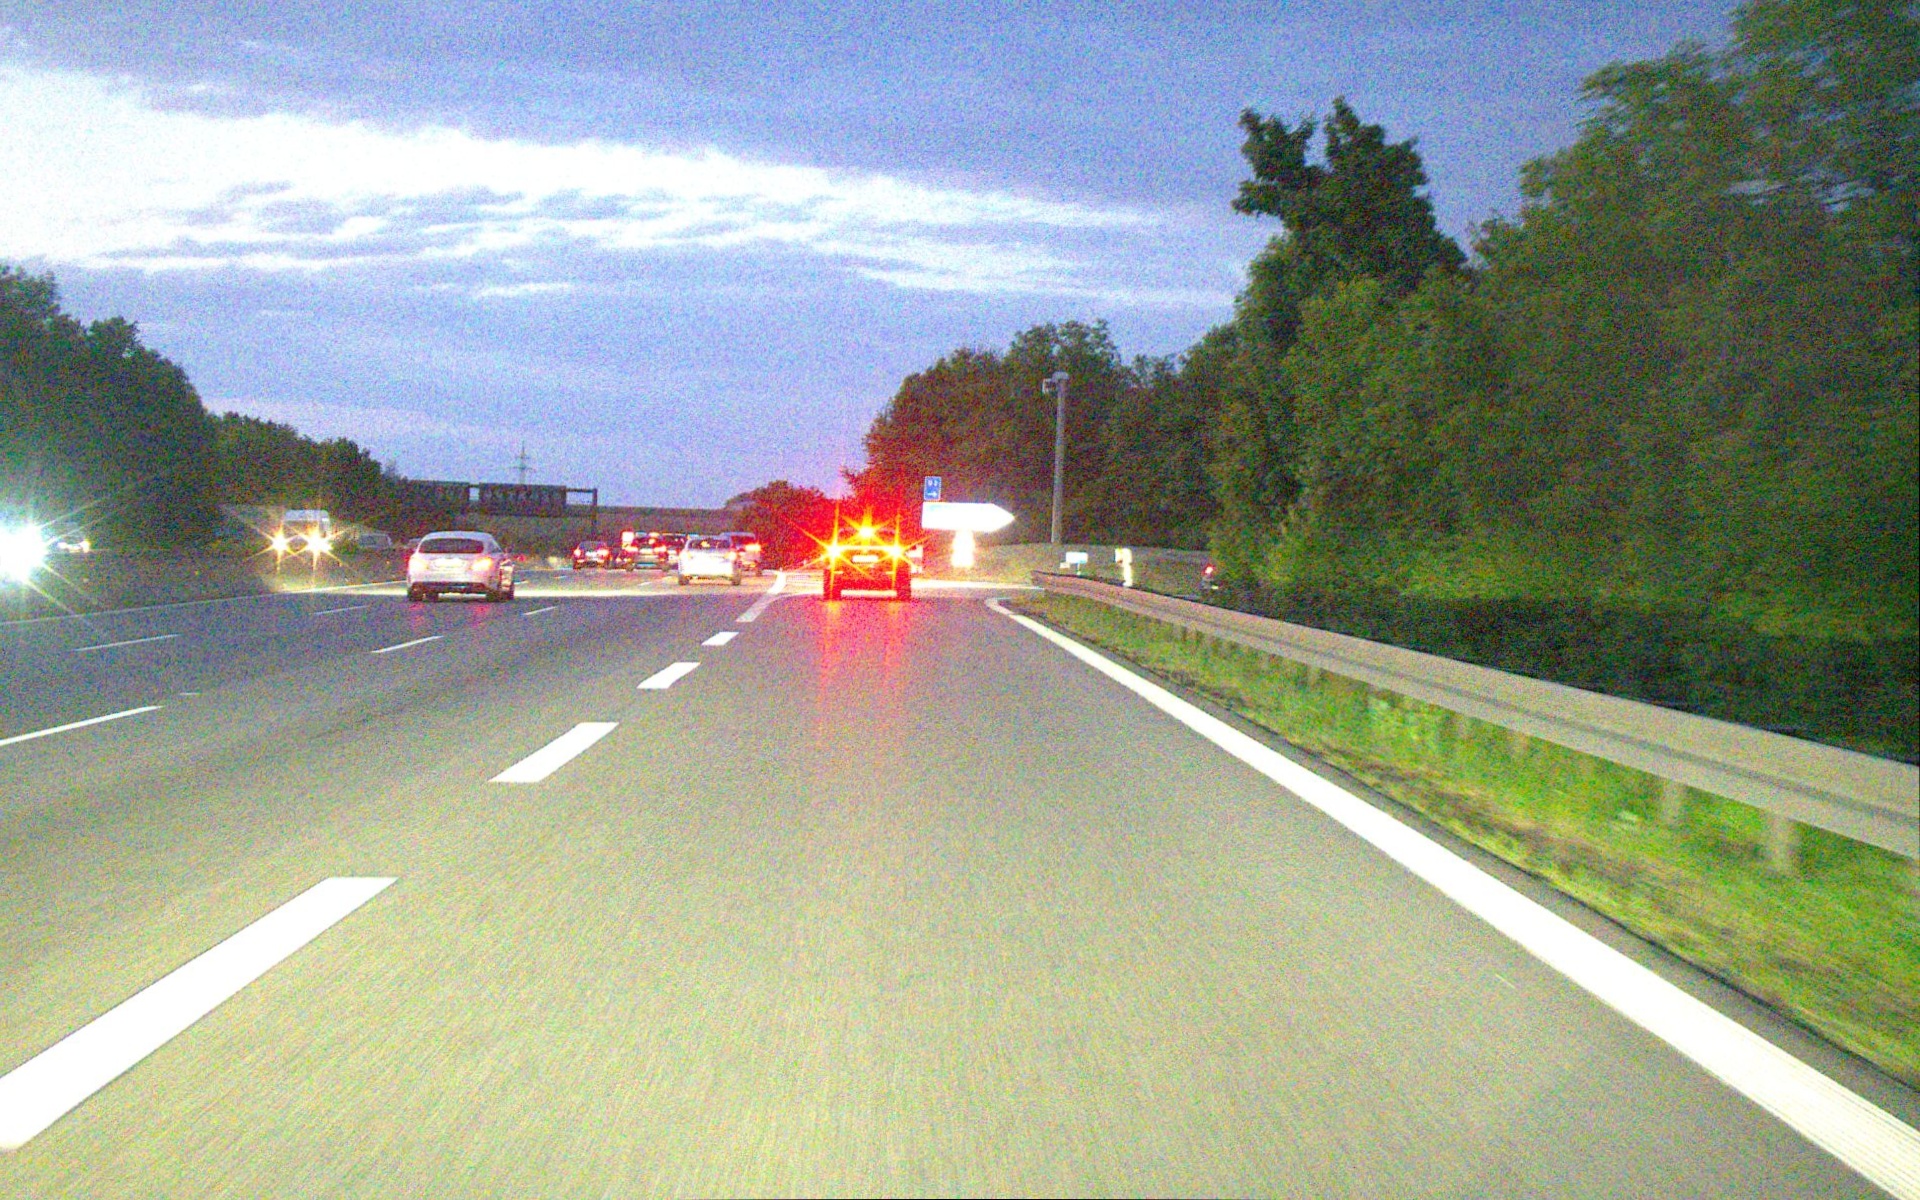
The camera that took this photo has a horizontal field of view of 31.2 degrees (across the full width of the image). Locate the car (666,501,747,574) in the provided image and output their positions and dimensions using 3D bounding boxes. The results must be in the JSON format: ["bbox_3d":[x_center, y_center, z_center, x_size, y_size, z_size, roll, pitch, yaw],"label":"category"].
[{"bbox_3d":[-7.124,-1.773,96.991,1.993,2.007,4.000,1,1,-1],"label":"car"}]

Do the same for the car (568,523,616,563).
[{"bbox_3d":[-18.667,-2.904,174.558,2.104,2.007,4.001,-1,1,-2],"label":"car"}]

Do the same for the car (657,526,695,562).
[{"bbox_3d":[-16.029,-3.175,193.784,1.993,2.007,4.001,0,1,-6],"label":"car"}]

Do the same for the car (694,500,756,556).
[{"bbox_3d":[-8.593,-2.643,125.988,1.993,2.007,4.000,0,1,0],"label":"car"}]

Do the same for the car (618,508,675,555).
[{"bbox_3d":[-13.628,-2.992,149.590,2.071,2.007,4.000,0,1,0],"label":"car"}]

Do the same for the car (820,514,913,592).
[{"bbox_3d":[-2.066,-1.068,76.483,1.993,1.653,4.315,1,1,-1],"label":"car"}]

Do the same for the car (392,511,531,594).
[{"bbox_3d":[-10.232,-1.002,70.857,1.994,1.637,4.554,0,1,3],"label":"car"}]

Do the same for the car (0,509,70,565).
[{"bbox_3d":[-26.720,-1.812,97.523,1.993,1.541,4.000,1,1,-1],"label":"car"}]

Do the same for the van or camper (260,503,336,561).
[{"bbox_3d":[-30.878,-3.153,160.478,2.516,2.586,6.490,1,1,-2],"label":"van or camper"}]
